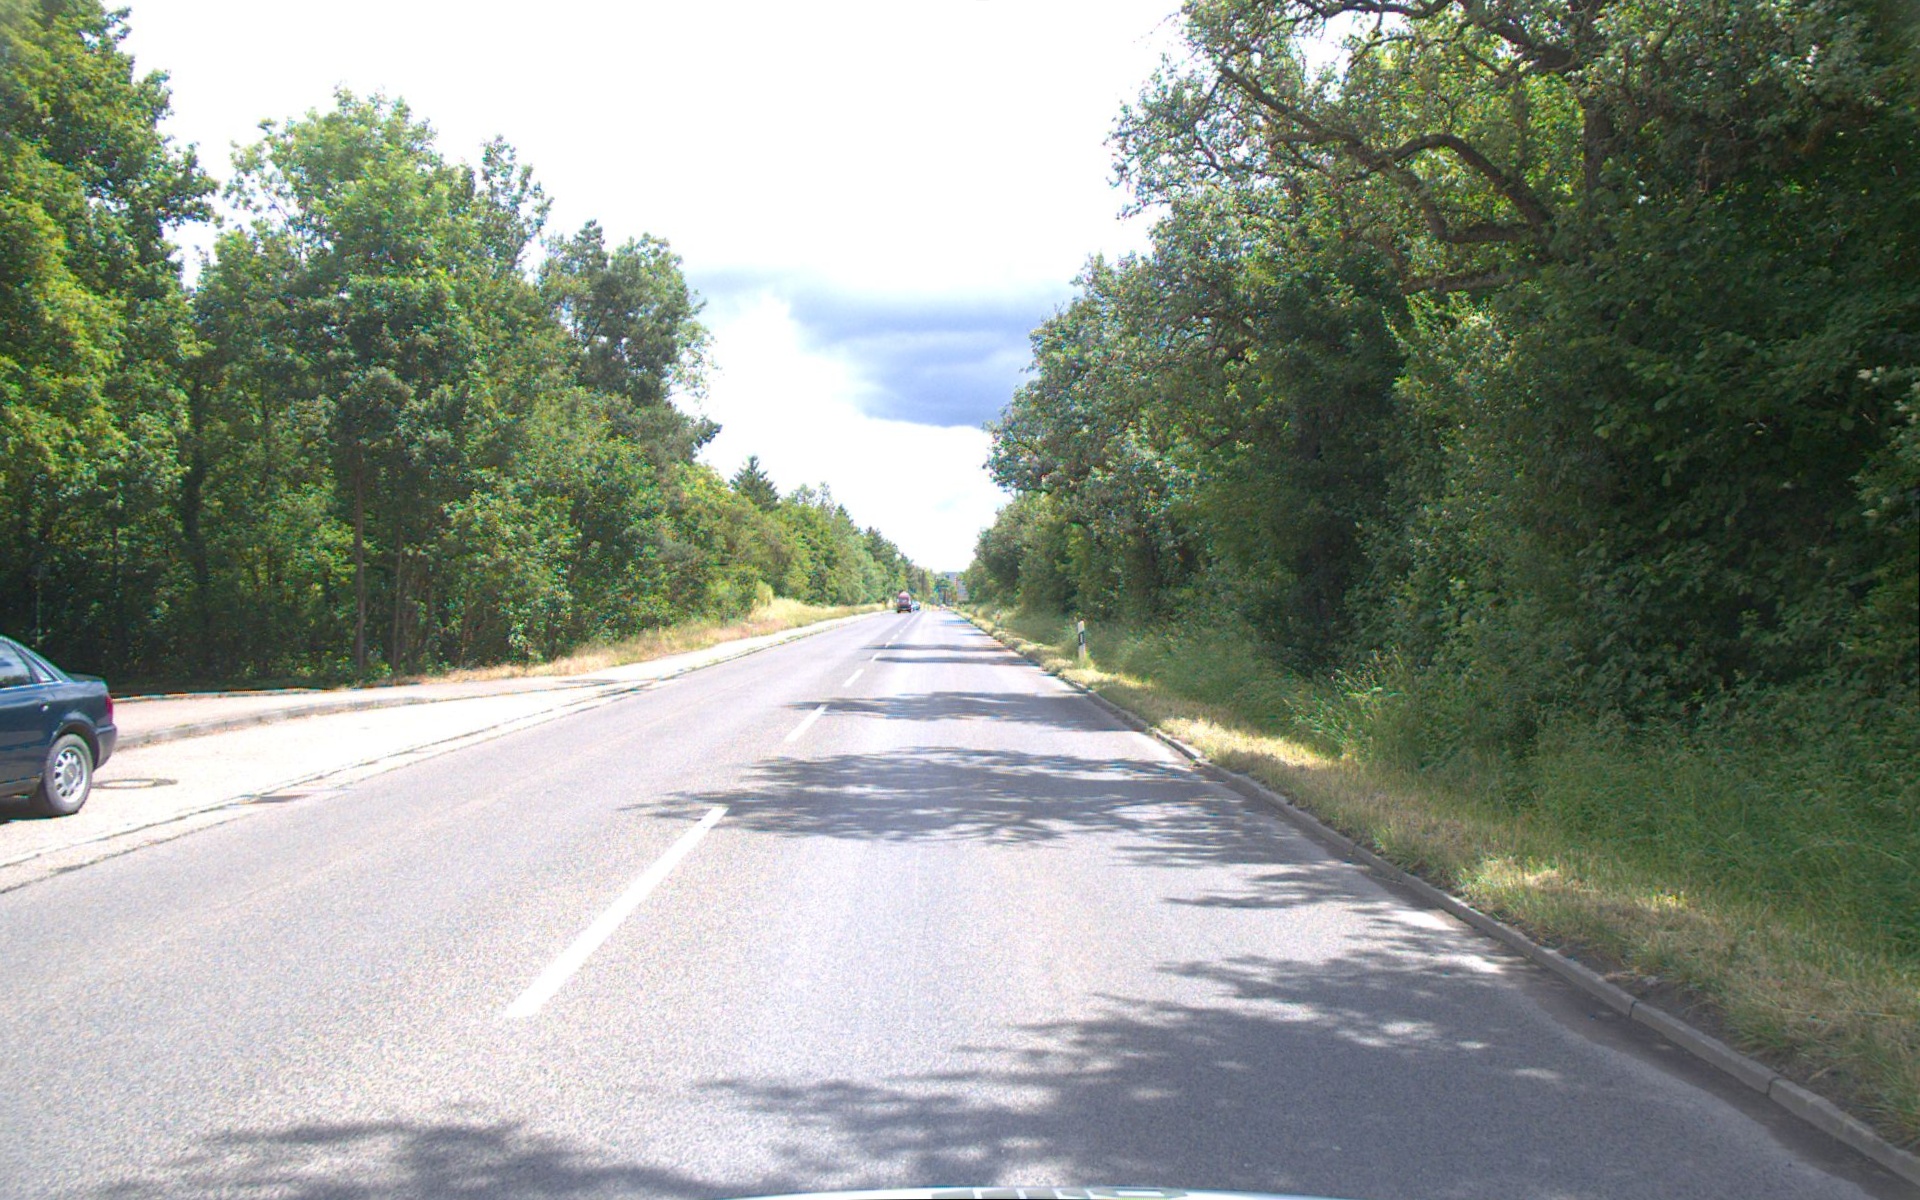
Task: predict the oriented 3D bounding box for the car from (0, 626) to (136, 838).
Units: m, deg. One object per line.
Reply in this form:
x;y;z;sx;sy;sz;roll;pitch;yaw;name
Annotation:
-7.553;0.914;11.119;1.731;1.432;4.266;1;0;2;car

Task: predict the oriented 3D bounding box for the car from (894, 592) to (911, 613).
-7.181;0.336;208.027;1.929;2.595;4.724;-3;0;-1;car
